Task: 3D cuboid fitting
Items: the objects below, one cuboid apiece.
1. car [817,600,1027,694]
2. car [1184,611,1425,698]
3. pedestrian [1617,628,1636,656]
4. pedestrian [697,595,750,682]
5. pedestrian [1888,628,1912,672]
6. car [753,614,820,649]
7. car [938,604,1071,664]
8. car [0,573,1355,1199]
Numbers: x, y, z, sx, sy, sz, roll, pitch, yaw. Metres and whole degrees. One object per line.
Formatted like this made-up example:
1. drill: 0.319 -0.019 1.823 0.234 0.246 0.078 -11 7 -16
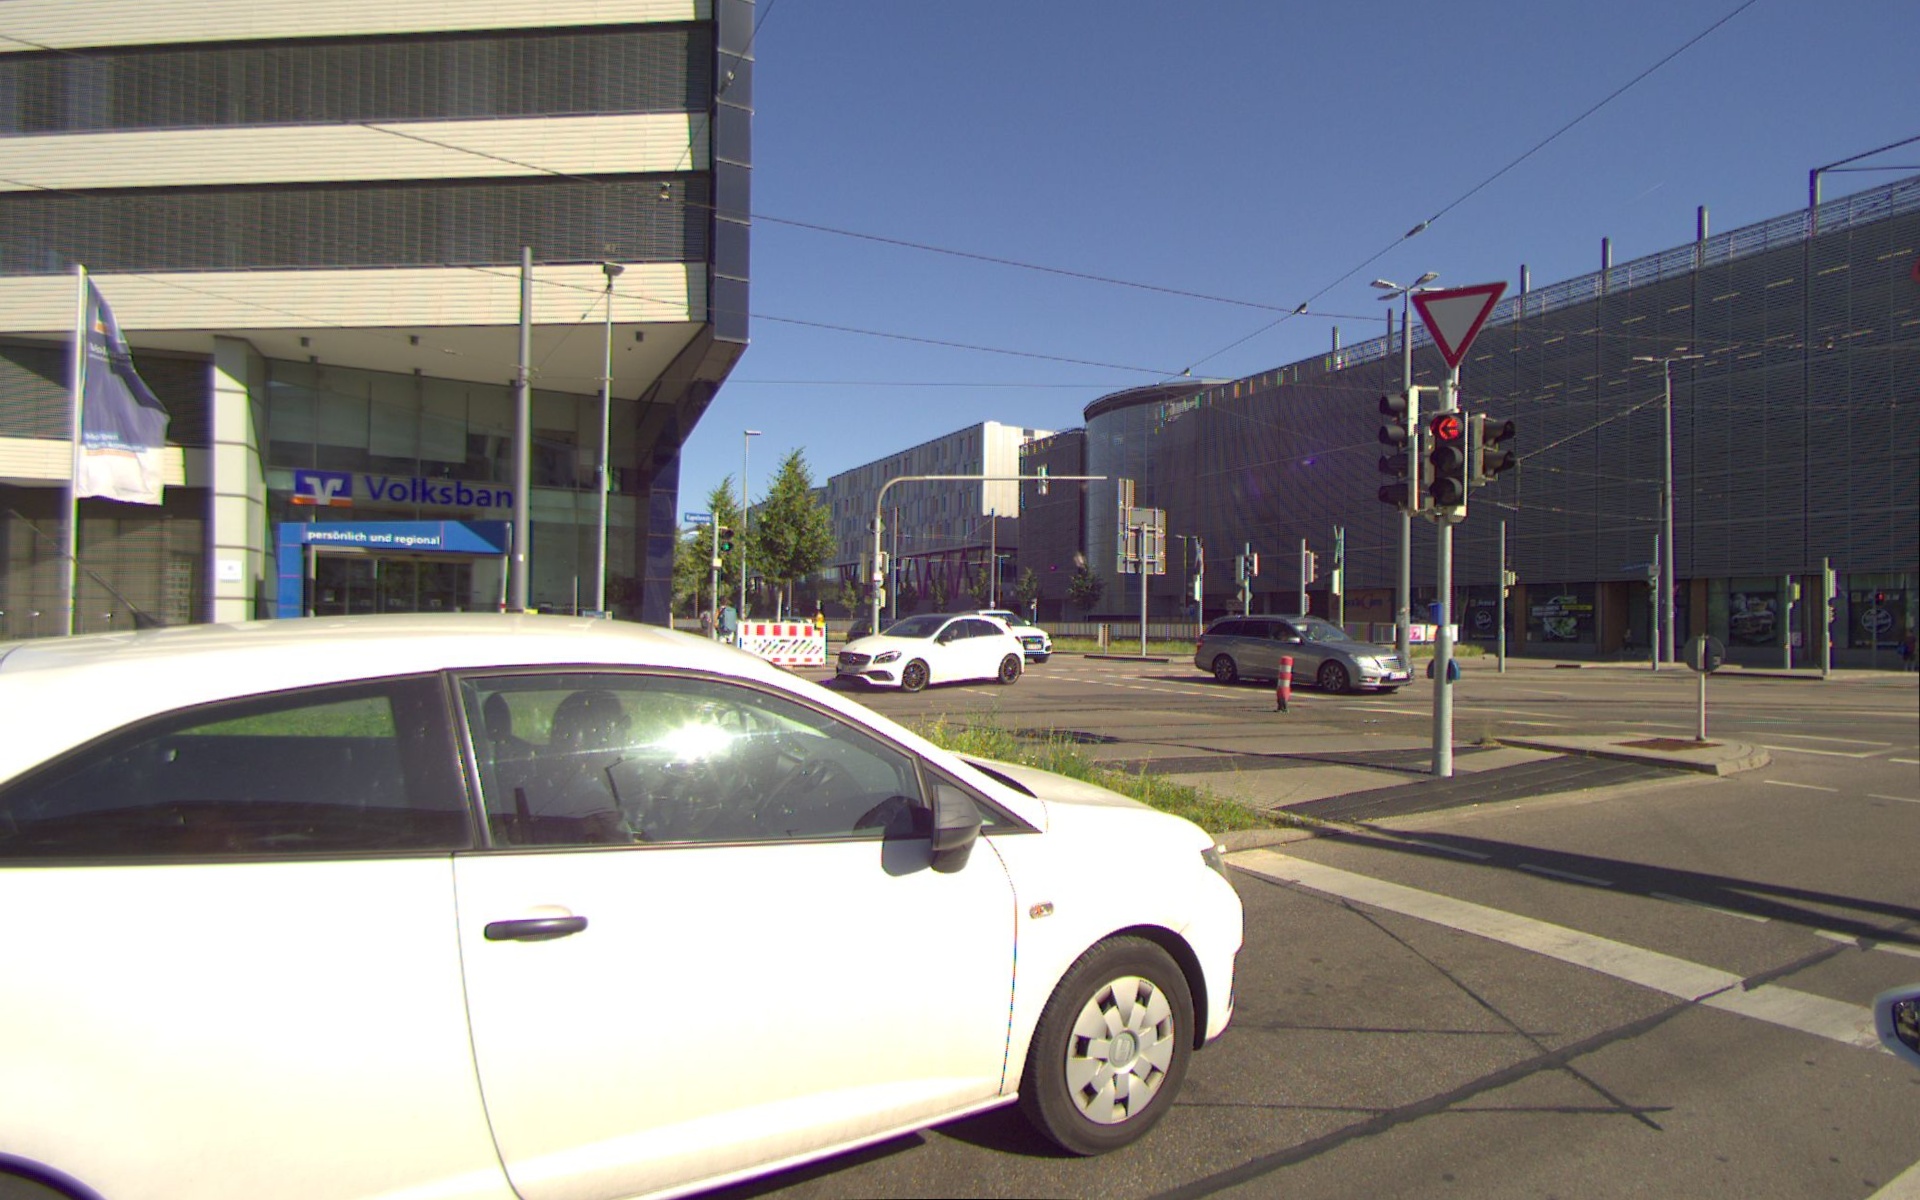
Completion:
1. car: -0.670 0.877 20.069 1.800 1.668 4.158 0 -1 43
2. car: 7.053 1.047 21.134 1.688 1.593 4.829 1 -1 -32
3. pedestrian: 39.243 2.489 59.146 0.584 1.622 0.661 2 0 -11
4. pedestrian: -4.806 0.769 20.403 0.734 1.719 0.798 1 1 -40
5. pedestrian: 39.969 2.119 42.730 0.687 1.821 0.726 -2 -3 44
6. car: -8.404 1.494 48.325 1.690 1.534 4.241 1 0 -32
7. car: 1.305 1.036 31.535 1.916 1.729 4.643 1 -2 -32
8. car: -0.956 0.740 2.791 3.977 1.460 1.723 2 1 -31
